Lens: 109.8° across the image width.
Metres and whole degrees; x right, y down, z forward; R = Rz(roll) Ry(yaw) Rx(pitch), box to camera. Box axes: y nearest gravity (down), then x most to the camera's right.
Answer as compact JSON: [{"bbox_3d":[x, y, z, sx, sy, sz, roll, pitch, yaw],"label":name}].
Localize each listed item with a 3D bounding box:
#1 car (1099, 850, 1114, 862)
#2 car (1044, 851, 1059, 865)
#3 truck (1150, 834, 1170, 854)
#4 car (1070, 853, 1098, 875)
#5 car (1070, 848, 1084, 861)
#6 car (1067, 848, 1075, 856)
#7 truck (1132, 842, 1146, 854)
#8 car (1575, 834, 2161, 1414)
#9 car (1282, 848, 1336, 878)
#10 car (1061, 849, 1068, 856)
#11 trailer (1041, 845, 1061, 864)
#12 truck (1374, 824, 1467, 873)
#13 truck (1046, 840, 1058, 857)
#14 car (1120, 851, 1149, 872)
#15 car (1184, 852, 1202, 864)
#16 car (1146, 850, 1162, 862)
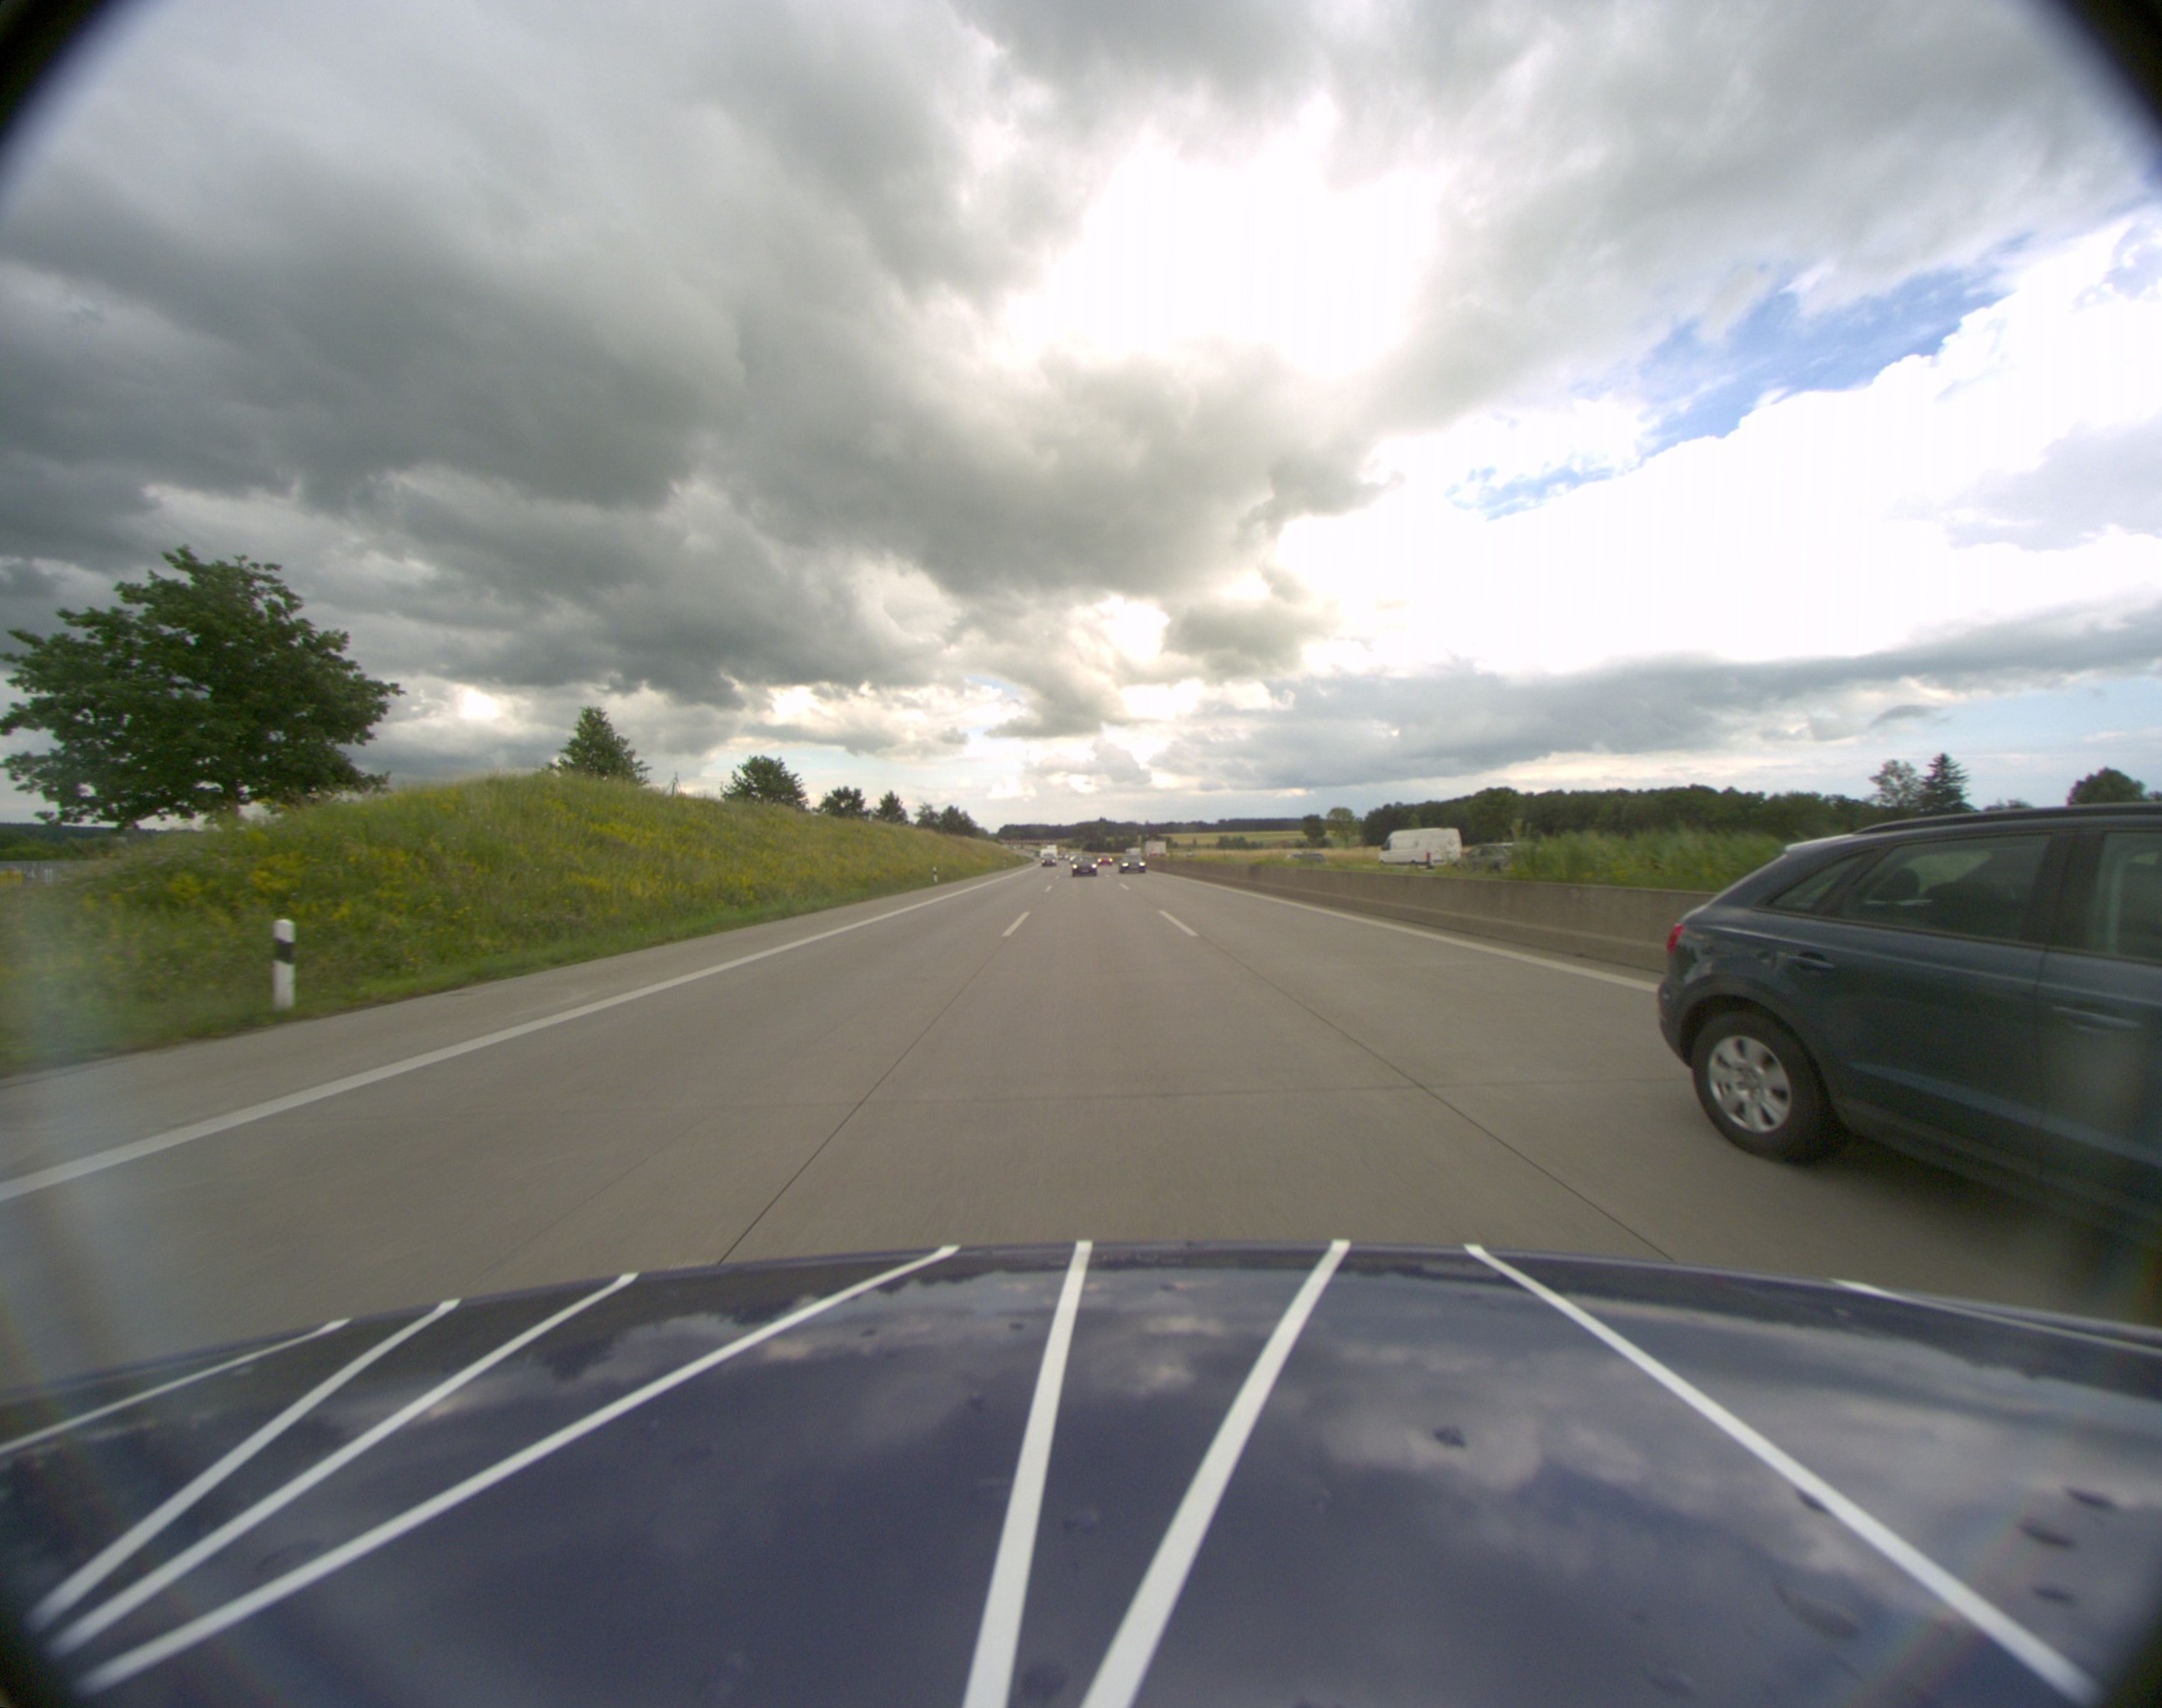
[{"bbox_3d":[3.295,0.284,97.695,1.821,1.364,3.782,-3,1,1],"label":"car"},{"bbox_3d":[-4.048,0.516,104.112,1.944,1.799,5.029,-2,1,-3],"label":"car"},{"bbox_3d":[17.845,-2.296,172.457,2.848,4.231,14.563,-2,1,0],"label":"truck"},{"bbox_3d":[0.189,0.698,53.928,1.691,1.405,3.998,-2,1,-3],"label":"car"},{"bbox_3d":[-0.704,0.005,122.555,1.999,2.002,3.998,-2,0,-4],"label":"car"},{"bbox_3d":[-2.537,-0.453,190.244,1.810,2.002,3.841,-3,1,-2],"label":"car"},{"bbox_3d":[13.604,-1.355,179.971,2.622,2.709,6.918,-2,1,0],"label":"truck"},{"bbox_3d":[3.907,0.747,1.999,1.797,1.587,5.156,-2,0,0],"label":"car"},{"bbox_3d":[11.945,0.423,40.069,1.577,1.451,4.223,-2,0,0],"label":"car"},{"bbox_3d":[-4.761,-0.459,220.218,1.999,2.002,3.998,-2,1,-2],"label":"car"},{"bbox_3d":[-4.383,0.062,109.974,2.616,2.520,6.718,-2,1,-3],"label":"trailer"},{"bbox_3d":[19.876,-0.376,44.989,2.150,2.552,7.446,-2,1,0],"label":"truck"},{"bbox_3d":[-7.424,-1.433,195.984,2.855,4.176,10.706,-2,0,-3],"label":"truck"},{"bbox_3d":[4.019,0.522,57.840,1.940,1.464,4.000,-2,0,0],"label":"car"},{"bbox_3d":[15.096,0.504,102.320,1.861,1.455,3.999,-1,0,0],"label":"car"},{"bbox_3d":[11.265,0.357,117.090,1.998,1.771,4.930,-1,0,0],"label":"car"}]
